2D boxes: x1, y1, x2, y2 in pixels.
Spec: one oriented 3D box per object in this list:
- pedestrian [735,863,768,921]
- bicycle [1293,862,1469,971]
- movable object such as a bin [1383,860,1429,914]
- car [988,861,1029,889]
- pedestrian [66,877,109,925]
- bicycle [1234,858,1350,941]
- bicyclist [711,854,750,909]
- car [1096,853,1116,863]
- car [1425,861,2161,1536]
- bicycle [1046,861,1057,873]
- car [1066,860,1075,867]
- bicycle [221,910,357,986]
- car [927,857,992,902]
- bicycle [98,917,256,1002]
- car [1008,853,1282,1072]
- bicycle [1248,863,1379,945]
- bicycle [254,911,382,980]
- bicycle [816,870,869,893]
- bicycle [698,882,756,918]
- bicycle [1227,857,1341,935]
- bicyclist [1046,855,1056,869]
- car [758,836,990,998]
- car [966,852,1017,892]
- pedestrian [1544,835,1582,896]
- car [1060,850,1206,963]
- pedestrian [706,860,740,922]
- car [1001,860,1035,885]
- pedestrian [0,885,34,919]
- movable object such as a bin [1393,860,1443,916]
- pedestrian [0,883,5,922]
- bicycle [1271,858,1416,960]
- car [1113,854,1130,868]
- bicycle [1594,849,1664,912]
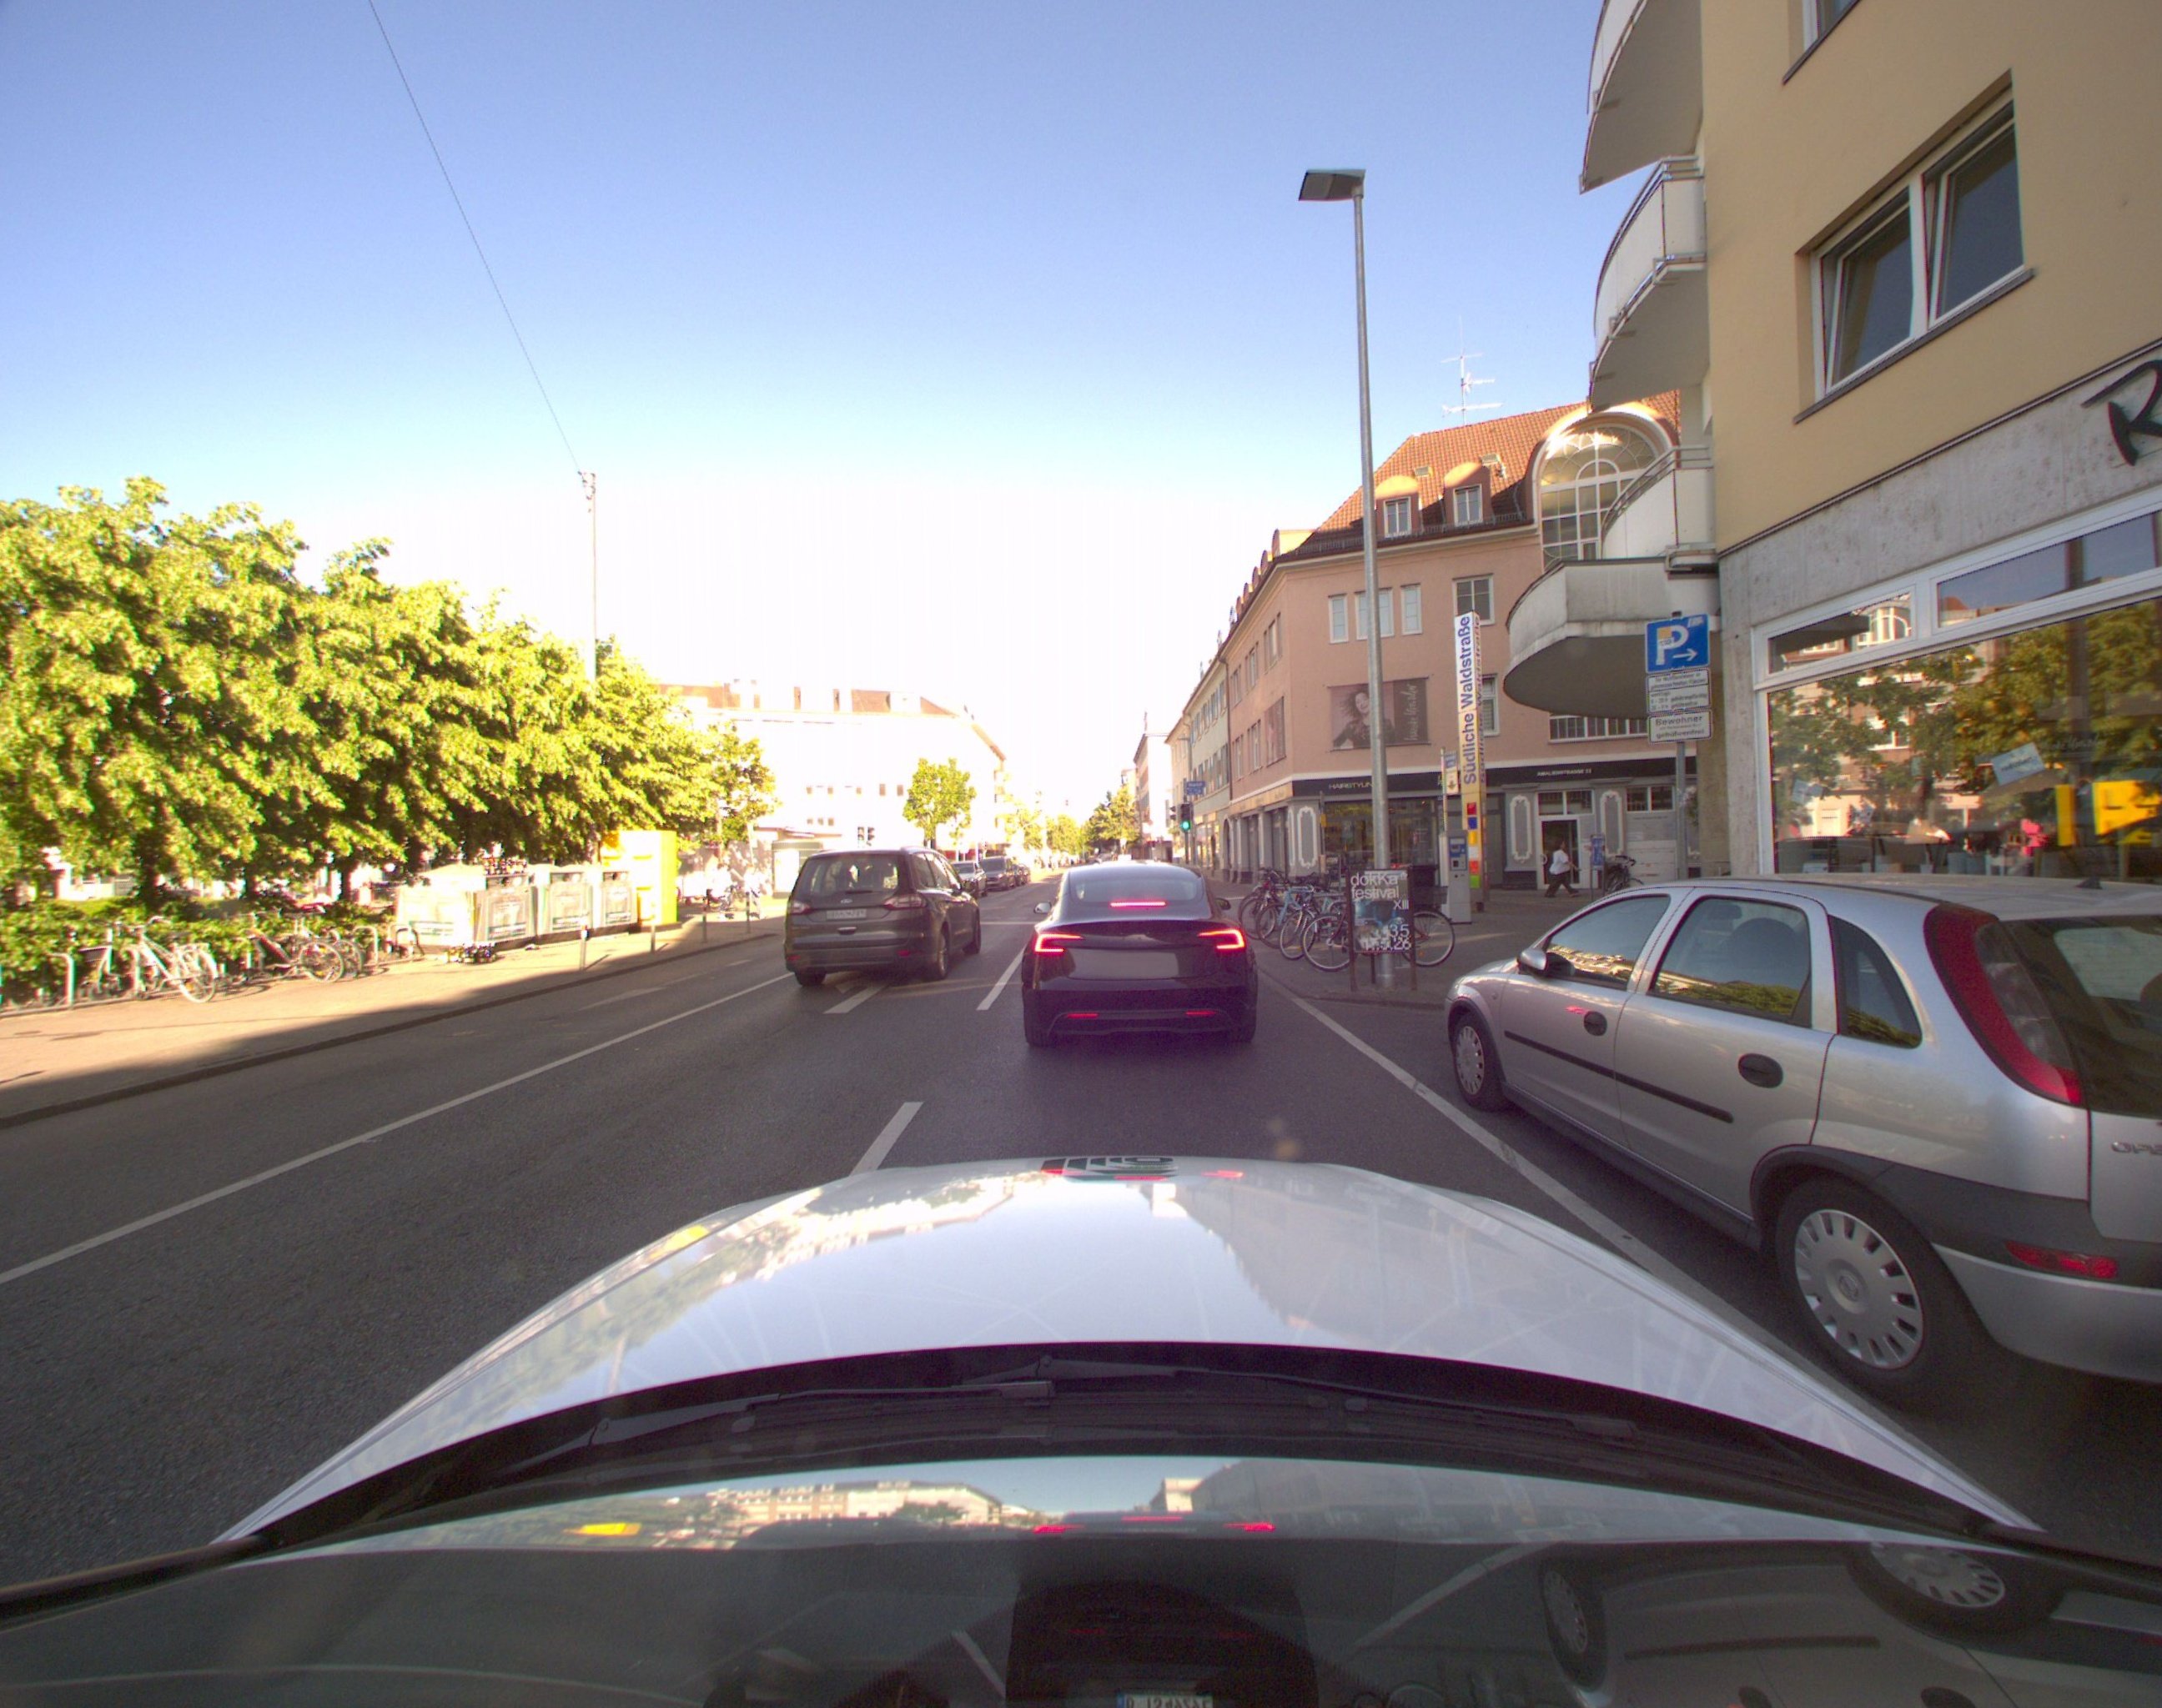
[{"bbox_3d":[-9.717,1.100,24.032,0.676,1.662,0.625,-2,-1,41],"label":"pedestrian"},{"bbox_3d":[3.638,0.756,10.000,1.876,1.193,0.693,-3,0,7],"label":"bicycle"},{"bbox_3d":[6.753,0.682,16.964,0.730,1.092,0.628,0,-1,3],"label":"movable object such as a bin"},{"bbox_3d":[-4.360,1.241,49.664,1.988,1.410,4.672,-5,0,-1],"label":"car"},{"bbox_3d":[-43.159,2.017,35.373,1.170,2.013,0.936,-1,0,26],"label":"pedestrian"},{"bbox_3d":[3.508,0.745,13.669,1.738,1.267,0.782,-3,-1,4],"label":"bicycle"},{"bbox_3d":[-11.940,0.935,27.734,0.941,1.838,0.793,-1,0,25],"label":"bicyclist"},{"bbox_3d":[5.130,0.870,167.657,3.974,2.013,2.000,-1,0,0],"label":"car"},{"bbox_3d":[2.982,0.735,3.506,1.607,1.382,3.645,0,0,2],"label":"car"},{"bbox_3d":[-3.473,1.555,95.772,1.108,1.344,3.998,-1,0,-1],"label":"bicycle"},{"bbox_3d":[-2.475,2.184,187.354,1.988,1.637,3.998,-1,0,-1],"label":"car"},{"bbox_3d":[-11.318,1.336,11.654,1.561,1.023,0.430,-1,0,3],"label":"bicycle"},{"bbox_3d":[-4.950,0.994,33.729,1.800,1.555,4.312,-5,0,2],"label":"car"},{"bbox_3d":[-11.455,1.332,10.335,1.590,1.018,0.430,-1,0,3],"label":"bicycle"},{"bbox_3d":[0.498,0.761,7.589,1.841,1.455,4.001,-1,0,2],"label":"car"},{"bbox_3d":[3.522,0.759,12.489,1.788,1.124,0.783,-3,-1,7],"label":"bicycle"},{"bbox_3d":[-11.385,1.363,12.160,1.517,0.958,0.431,-1,1,3],"label":"bicycle"},{"bbox_3d":[-12.580,1.444,43.004,2.497,1.156,0.843,-1,0,0],"label":"bicycle"},{"bbox_3d":[-12.076,1.565,27.771,2.042,1.139,0.541,0,0,23],"label":"bicycle"},{"bbox_3d":[3.622,0.745,14.697,1.851,1.258,0.834,-3,-1,7],"label":"bicycle"},{"bbox_3d":[-3.499,0.940,95.868,1.123,1.628,0.965,-1,0,-1],"label":"bicyclist"},{"bbox_3d":[-2.618,0.718,11.608,1.987,1.772,4.728,-2,0,1],"label":"car"},{"bbox_3d":[-4.638,0.873,42.811,1.827,1.845,4.677,-5,0,2],"label":"car"},{"bbox_3d":[12.599,0.302,21.314,0.740,1.552,0.703,-1,0,22],"label":"pedestrian"},{"bbox_3d":[0.741,0.728,13.363,1.987,1.512,4.175,-1,0,0],"label":"car"},{"bbox_3d":[-10.268,1.040,23.368,0.541,1.728,0.679,-2,-1,35],"label":"pedestrian"},{"bbox_3d":[-4.390,1.266,57.261,1.988,1.436,4.672,-5,0,-1],"label":"car"},{"bbox_3d":[-65.130,2.924,49.705,1.269,2.014,1.284,-1,-1,28],"label":"pedestrian"},{"bbox_3d":[6.744,0.677,16.326,0.749,1.092,0.628,0,-1,3],"label":"movable object such as a bin"},{"bbox_3d":[-56.408,2.501,41.882,1.048,2.013,0.814,-1,0,0],"label":"pedestrian"},{"bbox_3d":[3.542,0.730,11.136,1.713,1.268,0.792,-3,-1,7],"label":"bicycle"},{"bbox_3d":[4.977,0.809,100.850,1.986,1.629,4.002,-1,0,2],"label":"car"},{"bbox_3d":[11.098,0.506,16.566,0.653,1.199,2.223,-2,0,21],"label":"bicycle"}]
